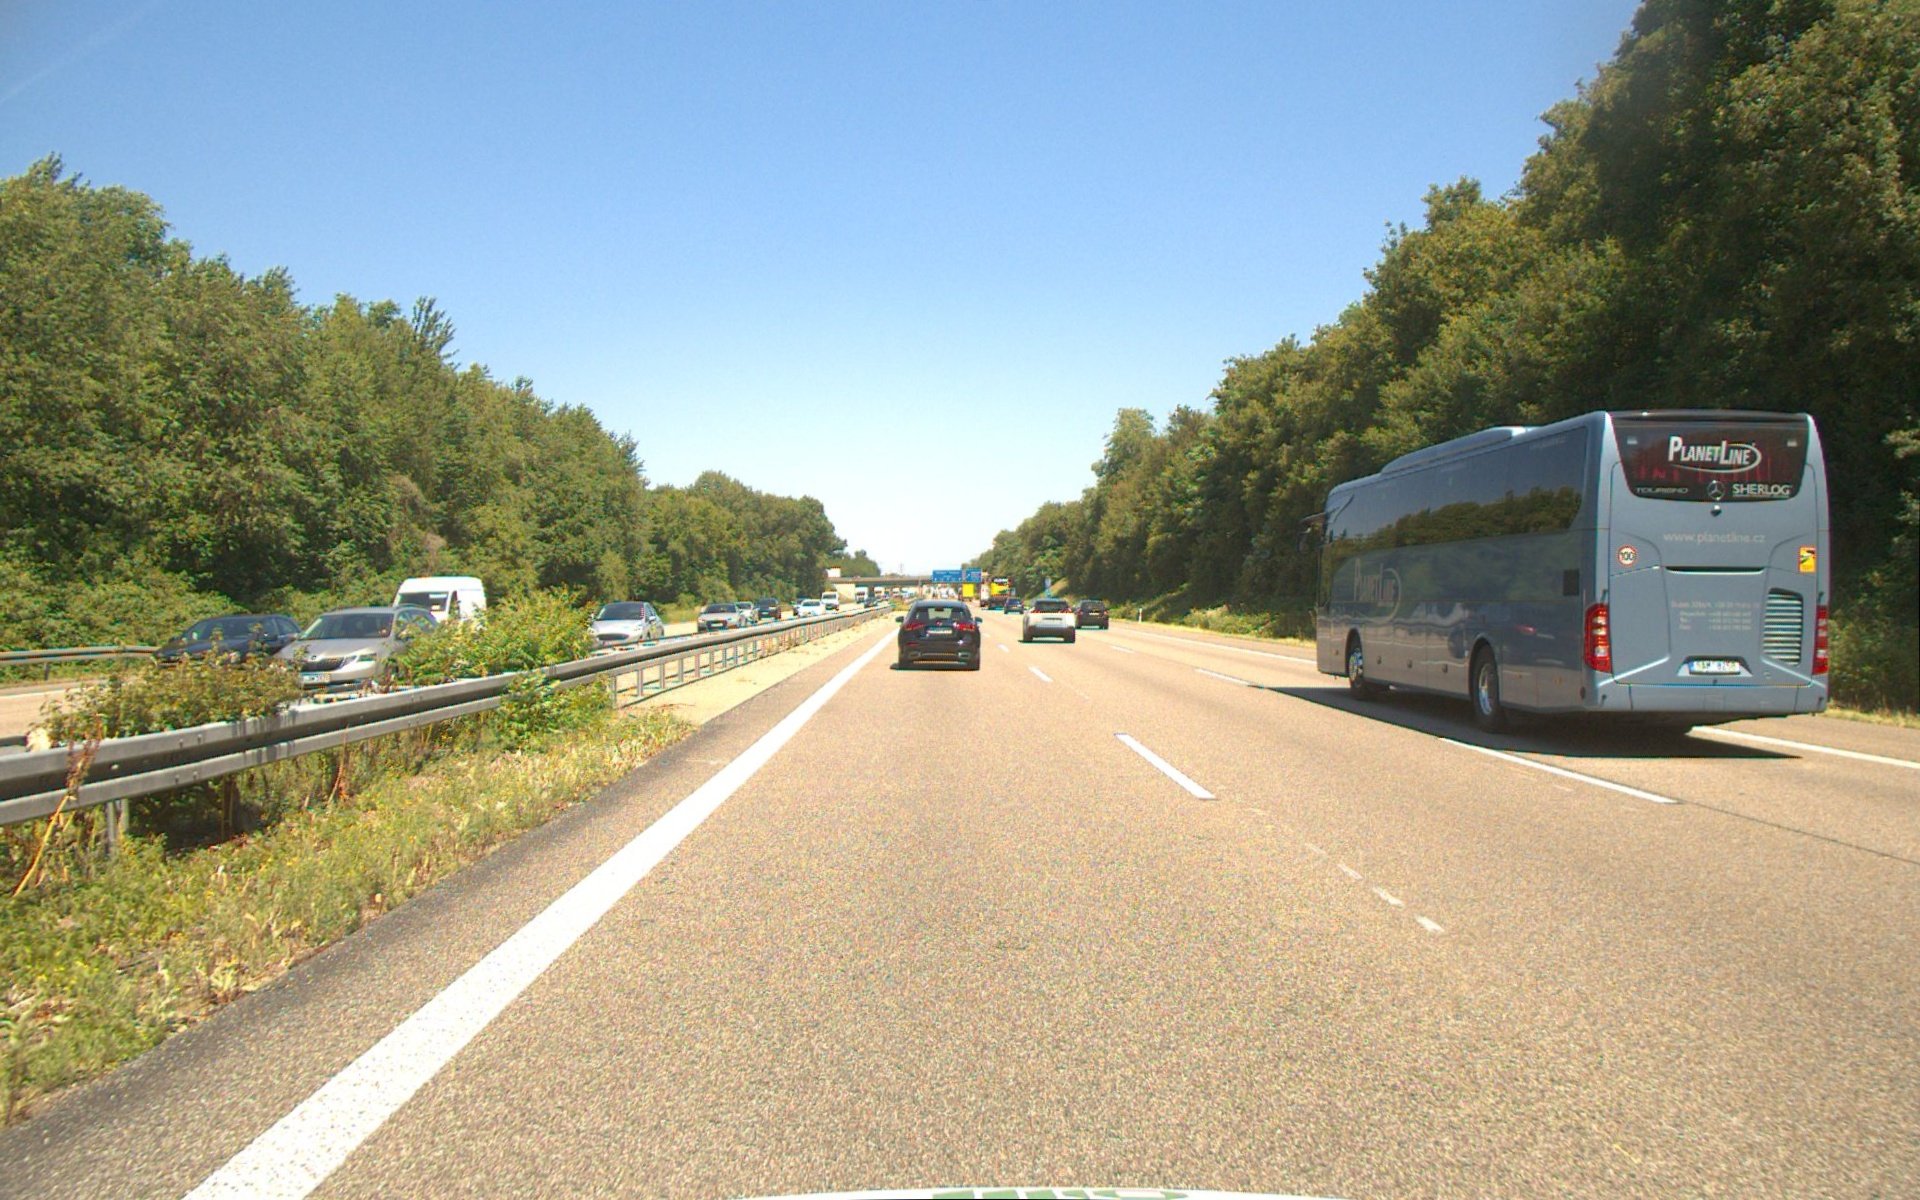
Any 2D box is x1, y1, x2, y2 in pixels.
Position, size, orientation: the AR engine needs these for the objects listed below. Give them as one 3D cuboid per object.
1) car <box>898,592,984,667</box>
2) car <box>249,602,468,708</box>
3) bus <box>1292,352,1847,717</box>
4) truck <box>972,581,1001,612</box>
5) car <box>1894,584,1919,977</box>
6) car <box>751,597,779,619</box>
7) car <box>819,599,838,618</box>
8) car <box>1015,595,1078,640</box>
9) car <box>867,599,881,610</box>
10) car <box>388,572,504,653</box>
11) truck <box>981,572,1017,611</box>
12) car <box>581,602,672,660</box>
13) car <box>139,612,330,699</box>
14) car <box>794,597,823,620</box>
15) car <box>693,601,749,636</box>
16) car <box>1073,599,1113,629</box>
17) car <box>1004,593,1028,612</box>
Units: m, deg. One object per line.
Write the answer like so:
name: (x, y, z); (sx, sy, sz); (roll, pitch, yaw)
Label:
car: (-0.450, 0.605, 36.194); (1.763, 1.528, 4.240); (1, 0, -2)
car: (-9.413, 0.798, 26.334); (1.811, 1.475, 4.870); (-1, 0, -2)
bus: (7.409, -0.663, 22.918); (2.746, 3.659, 12.469); (0, 0, -2)
truck: (4.090, -0.500, 257.987); (3.574, 4.670, 17.240); (1, 0, -2)
car: (4.817, 0.737, 4.400); (1.861, 1.559, 4.758); (1, 0, -2)
car: (-15.455, 0.642, 131.439); (1.783, 1.659, 4.796); (-1, 0, -2)
car: (-16.267, 1.054, 204.778); (2.045, 2.328, 5.275); (-1, 0, -2)
car: (3.061, 0.598, 59.200); (1.861, 1.559, 4.240); (1, 0, -2)
car: (-12.232, 0.626, 235.540); (1.769, 1.506, 4.566); (-1, 0, -2)
car: (-17.491, 0.394, 56.657); (2.045, 2.597, 6.226); (-1, 0, -1)
truck: (4.867, -1.072, 208.398); (3.574, 4.670, 15.760); (1, 0, -2)
car: (-9.364, 0.839, 46.699); (1.811, 1.475, 4.206); (-1, 0, -2)
car: (-13.464, 0.978, 31.012); (1.634, 1.427, 4.704); (-1, 0, -2)
car: (-10.646, 0.568, 116.521); (1.783, 1.550, 4.821); (-1, 0, -2)
car: (-10.304, 0.784, 71.534); (1.801, 1.407, 4.427); (-1, 0, -1)
car: (6.939, 0.711, 86.588); (1.753, 1.487, 3.949); (1, 0, 0)
car: (5.395, 0.253, 160.315); (2.034, 1.781, 4.240); (-1, 0, -2)
